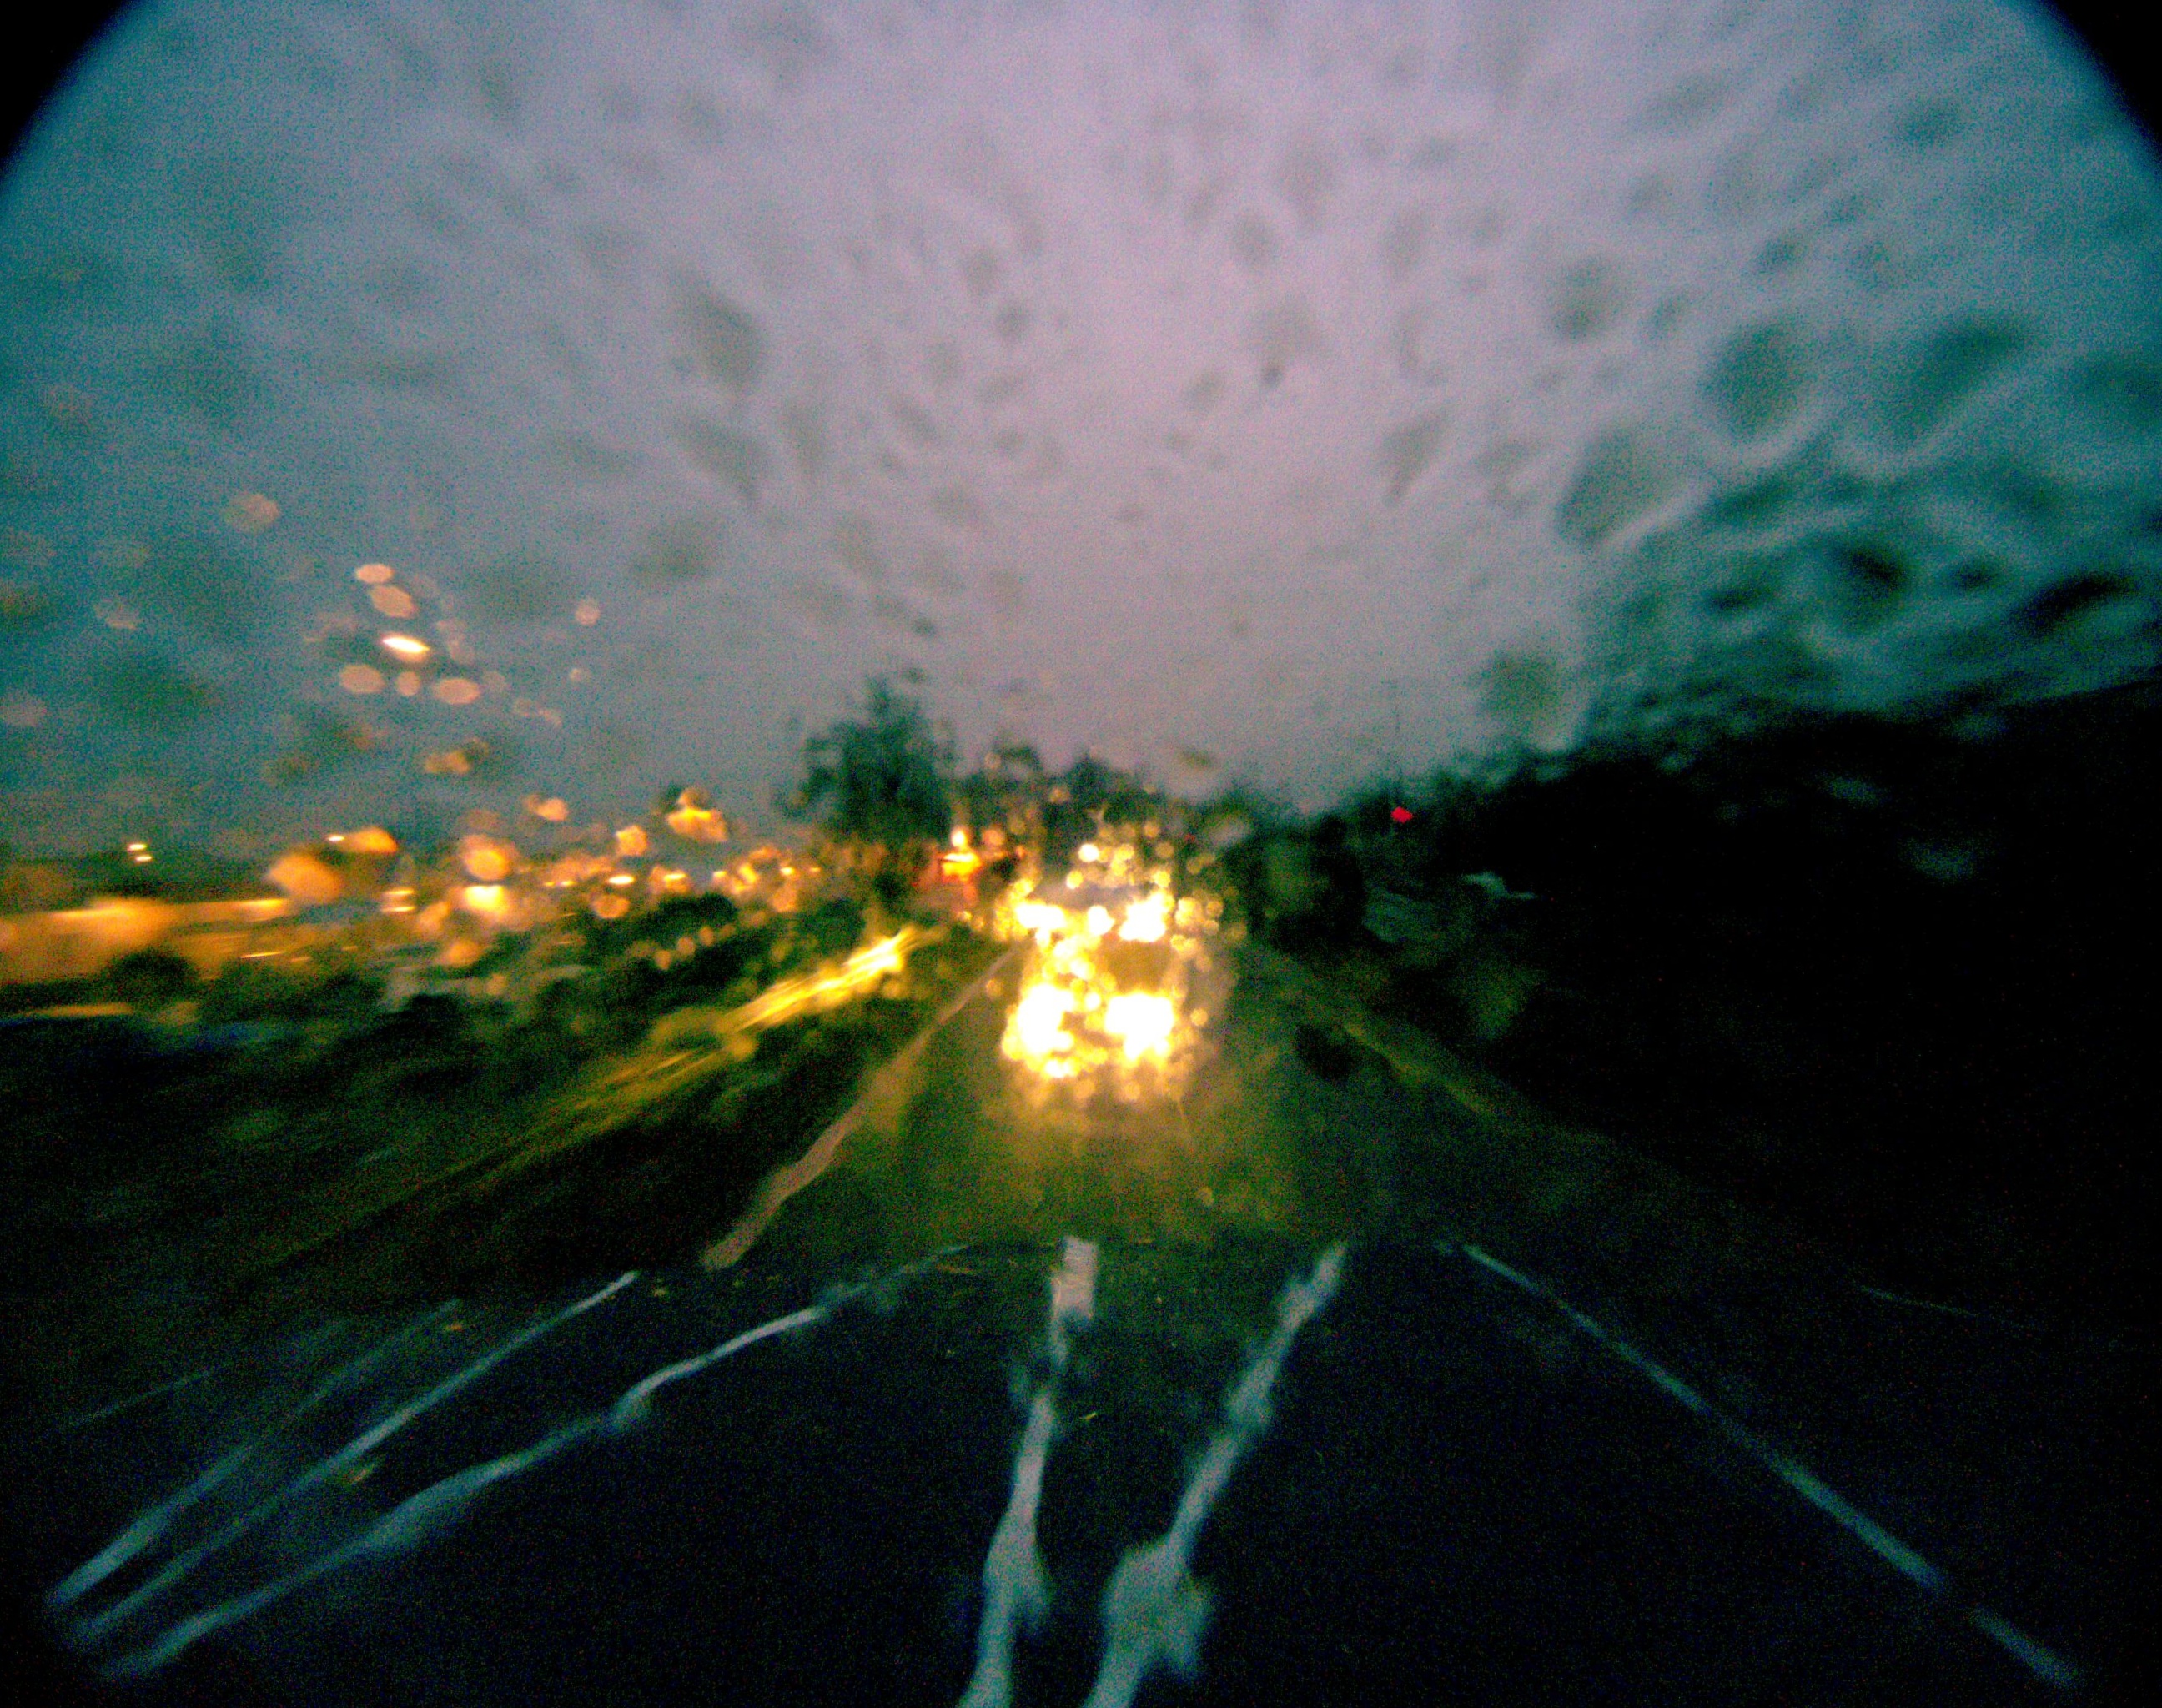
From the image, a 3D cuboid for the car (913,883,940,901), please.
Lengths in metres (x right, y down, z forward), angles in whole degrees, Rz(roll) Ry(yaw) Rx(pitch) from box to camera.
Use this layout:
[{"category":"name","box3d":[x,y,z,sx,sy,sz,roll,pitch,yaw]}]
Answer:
[{"category":"car","box3d":[-13.891,3.383,68.132,1.531,1.330,3.580,-2,1,-25]}]

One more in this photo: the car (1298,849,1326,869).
[{"category":"car","box3d":[19.509,0.409,64.269,1.697,1.569,3.887,-2,1,9]}]

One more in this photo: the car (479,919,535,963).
[{"category":"car","box3d":[-25.211,3.774,33.477,1.730,1.493,4.016,-3,0,-35]}]

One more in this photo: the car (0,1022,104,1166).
[{"category":"car","box3d":[-15.676,3.278,9.010,4.595,1.447,1.926,-4,1,-37]}]

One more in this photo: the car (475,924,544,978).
[{"category":"car","box3d":[-21.859,3.611,28.969,1.830,1.629,4.459,-3,-1,-40]}]

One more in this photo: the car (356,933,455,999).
[{"category":"car","box3d":[-22.219,3.609,25.152,1.809,1.526,4.532,-3,0,-34]}]

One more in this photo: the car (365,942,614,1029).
[{"category":"car","box3d":[-14.694,3.227,19.312,4.711,1.388,1.900,-2,1,-29]}]

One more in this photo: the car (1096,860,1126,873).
[{"category":"car","box3d":[4.187,1.748,106.291,4.009,1.588,1.807,-2,1,5]}]

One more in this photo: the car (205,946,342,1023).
[{"category":"car","box3d":[-23.156,3.671,21.950,1.601,1.576,3.624,-3,0,-29]}]

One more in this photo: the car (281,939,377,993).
[{"category":"car","box3d":[-26.404,3.883,26.795,1.602,1.339,3.624,-3,0,-32]}]

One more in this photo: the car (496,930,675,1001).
[{"category":"car","box3d":[-14.259,3.169,22.173,4.186,1.388,1.847,-2,1,-29]}]

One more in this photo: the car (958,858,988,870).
[{"category":"car","box3d":[-16.180,1.540,113.950,4.008,1.588,1.807,-2,1,9]}]

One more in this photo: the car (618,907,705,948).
[{"category":"car","box3d":[-19.551,3.388,35.443,3.263,1.526,1.389,-4,0,-39]}]

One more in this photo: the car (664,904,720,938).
[{"category":"car","box3d":[-20.185,3.432,39.419,1.723,1.508,3.249,-4,1,-42]}]

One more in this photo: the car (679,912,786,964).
[{"category":"car","box3d":[-13.056,3.114,28.698,1.771,1.421,3.814,-2,1,10]}]

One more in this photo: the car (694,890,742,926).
[{"category":"car","box3d":[-22.555,3.305,47.151,1.890,1.946,4.949,-4,0,-33]}]

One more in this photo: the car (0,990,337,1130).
[{"category":"car","box3d":[-15.537,3.357,12.614,4.186,1.388,1.900,-2,1,-32]}]

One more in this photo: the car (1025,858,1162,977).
[{"category":"car","box3d":[0.239,0.910,12.778,1.809,1.452,4.246,-5,1,2]}]

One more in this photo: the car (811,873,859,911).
[{"category":"car","box3d":[-17.462,2.624,53.799,2.284,2.426,5.228,-2,1,-28]}]

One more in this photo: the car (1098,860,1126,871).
[{"category":"car","box3d":[4.527,1.686,112.260,4.009,1.523,1.715,-2,1,5]}]

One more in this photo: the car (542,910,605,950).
[{"category":"car","box3d":[-24.676,3.639,36.890,1.805,1.586,3.969,-3,0,-44]}]
